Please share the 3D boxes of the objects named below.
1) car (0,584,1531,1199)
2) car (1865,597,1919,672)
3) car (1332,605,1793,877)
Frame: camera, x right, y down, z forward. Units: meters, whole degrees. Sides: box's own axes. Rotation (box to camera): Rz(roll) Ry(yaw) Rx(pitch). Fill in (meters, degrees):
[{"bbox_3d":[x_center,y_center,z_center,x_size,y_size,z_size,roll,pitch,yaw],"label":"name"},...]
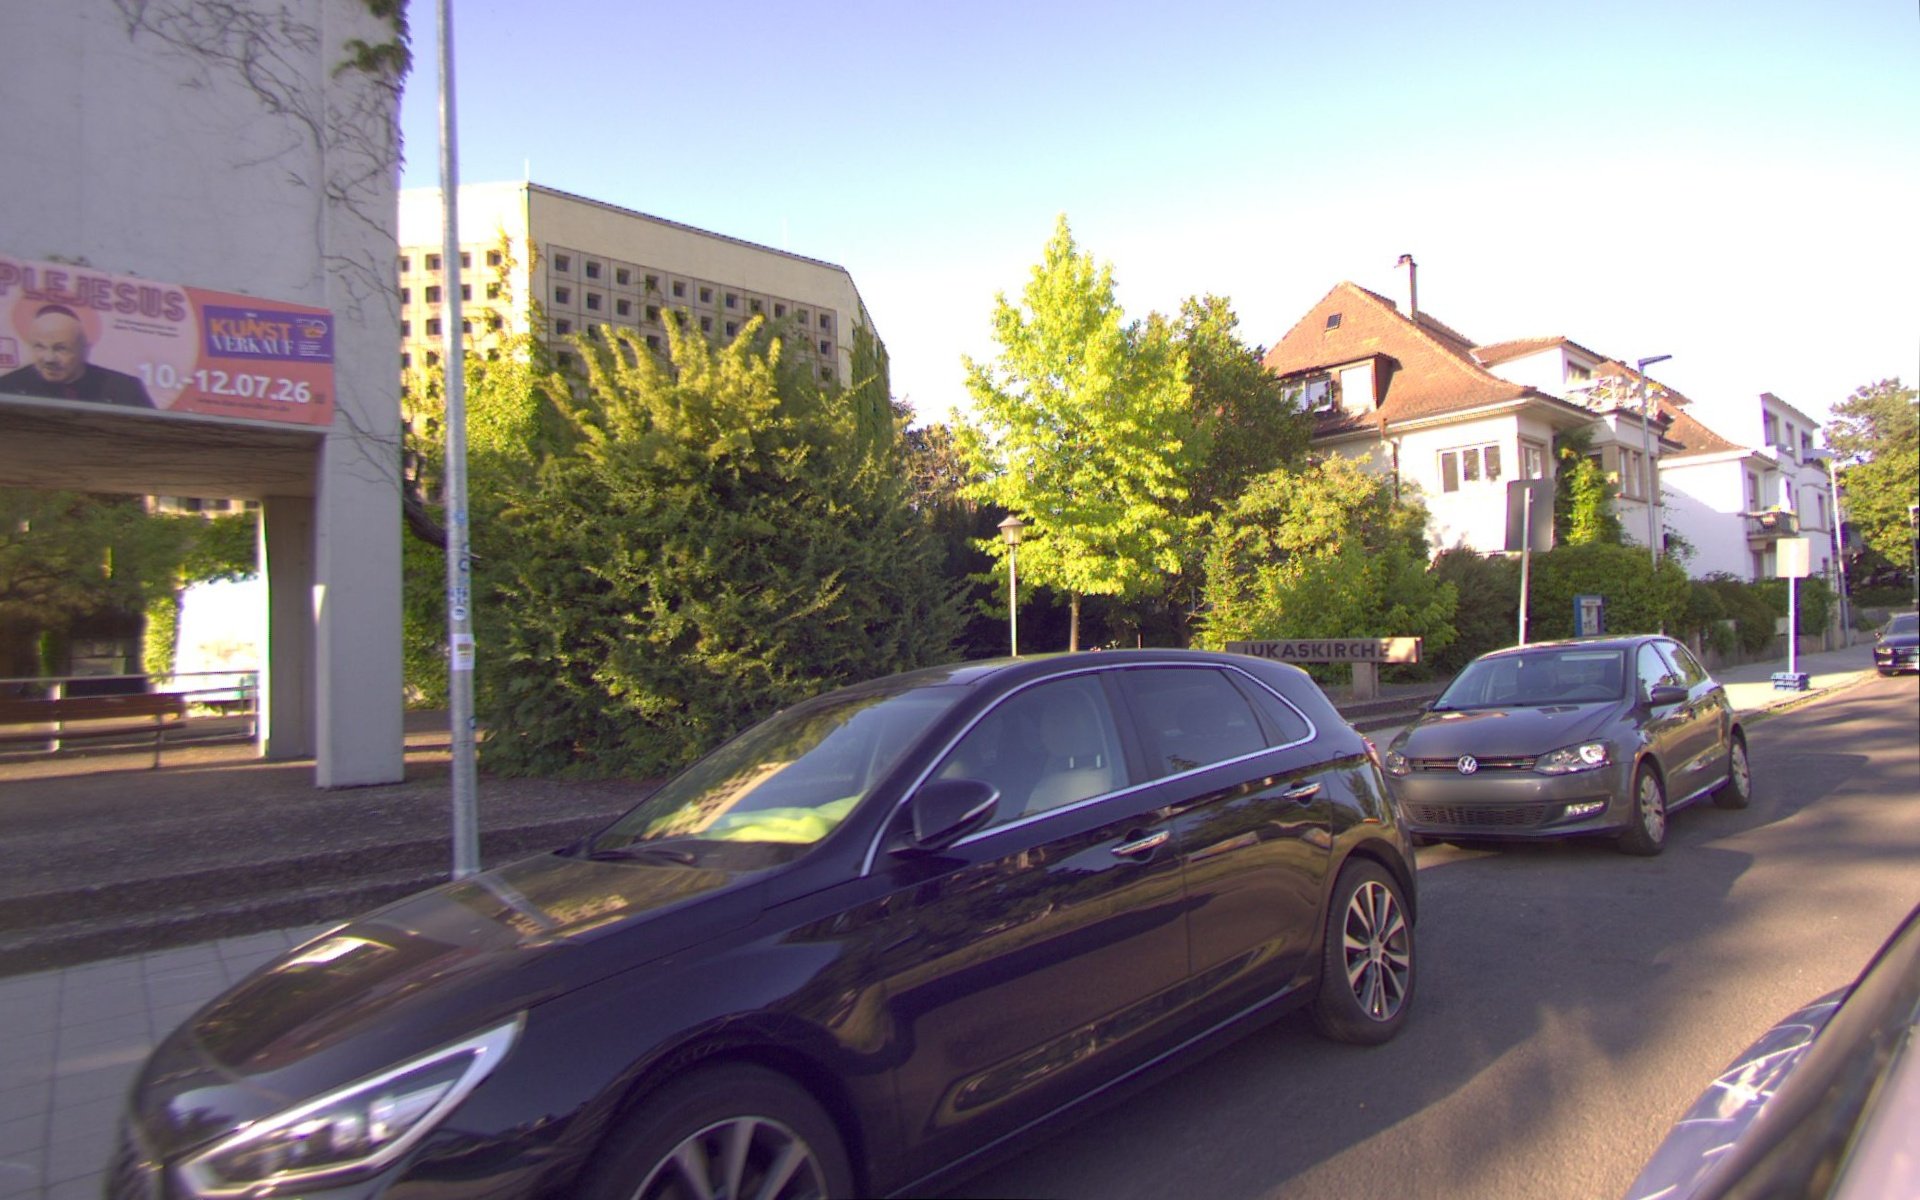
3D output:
[{"bbox_3d":[-0.103,0.903,3.345,4.539,1.582,1.824,0,-9,-40],"label":"car"},{"bbox_3d":[23.483,0.710,24.261,4.803,1.618,1.995,-1,-6,-42],"label":"car"},{"bbox_3d":[4.776,0.919,7.785,4.100,1.548,1.689,1,-7,-41],"label":"car"}]
